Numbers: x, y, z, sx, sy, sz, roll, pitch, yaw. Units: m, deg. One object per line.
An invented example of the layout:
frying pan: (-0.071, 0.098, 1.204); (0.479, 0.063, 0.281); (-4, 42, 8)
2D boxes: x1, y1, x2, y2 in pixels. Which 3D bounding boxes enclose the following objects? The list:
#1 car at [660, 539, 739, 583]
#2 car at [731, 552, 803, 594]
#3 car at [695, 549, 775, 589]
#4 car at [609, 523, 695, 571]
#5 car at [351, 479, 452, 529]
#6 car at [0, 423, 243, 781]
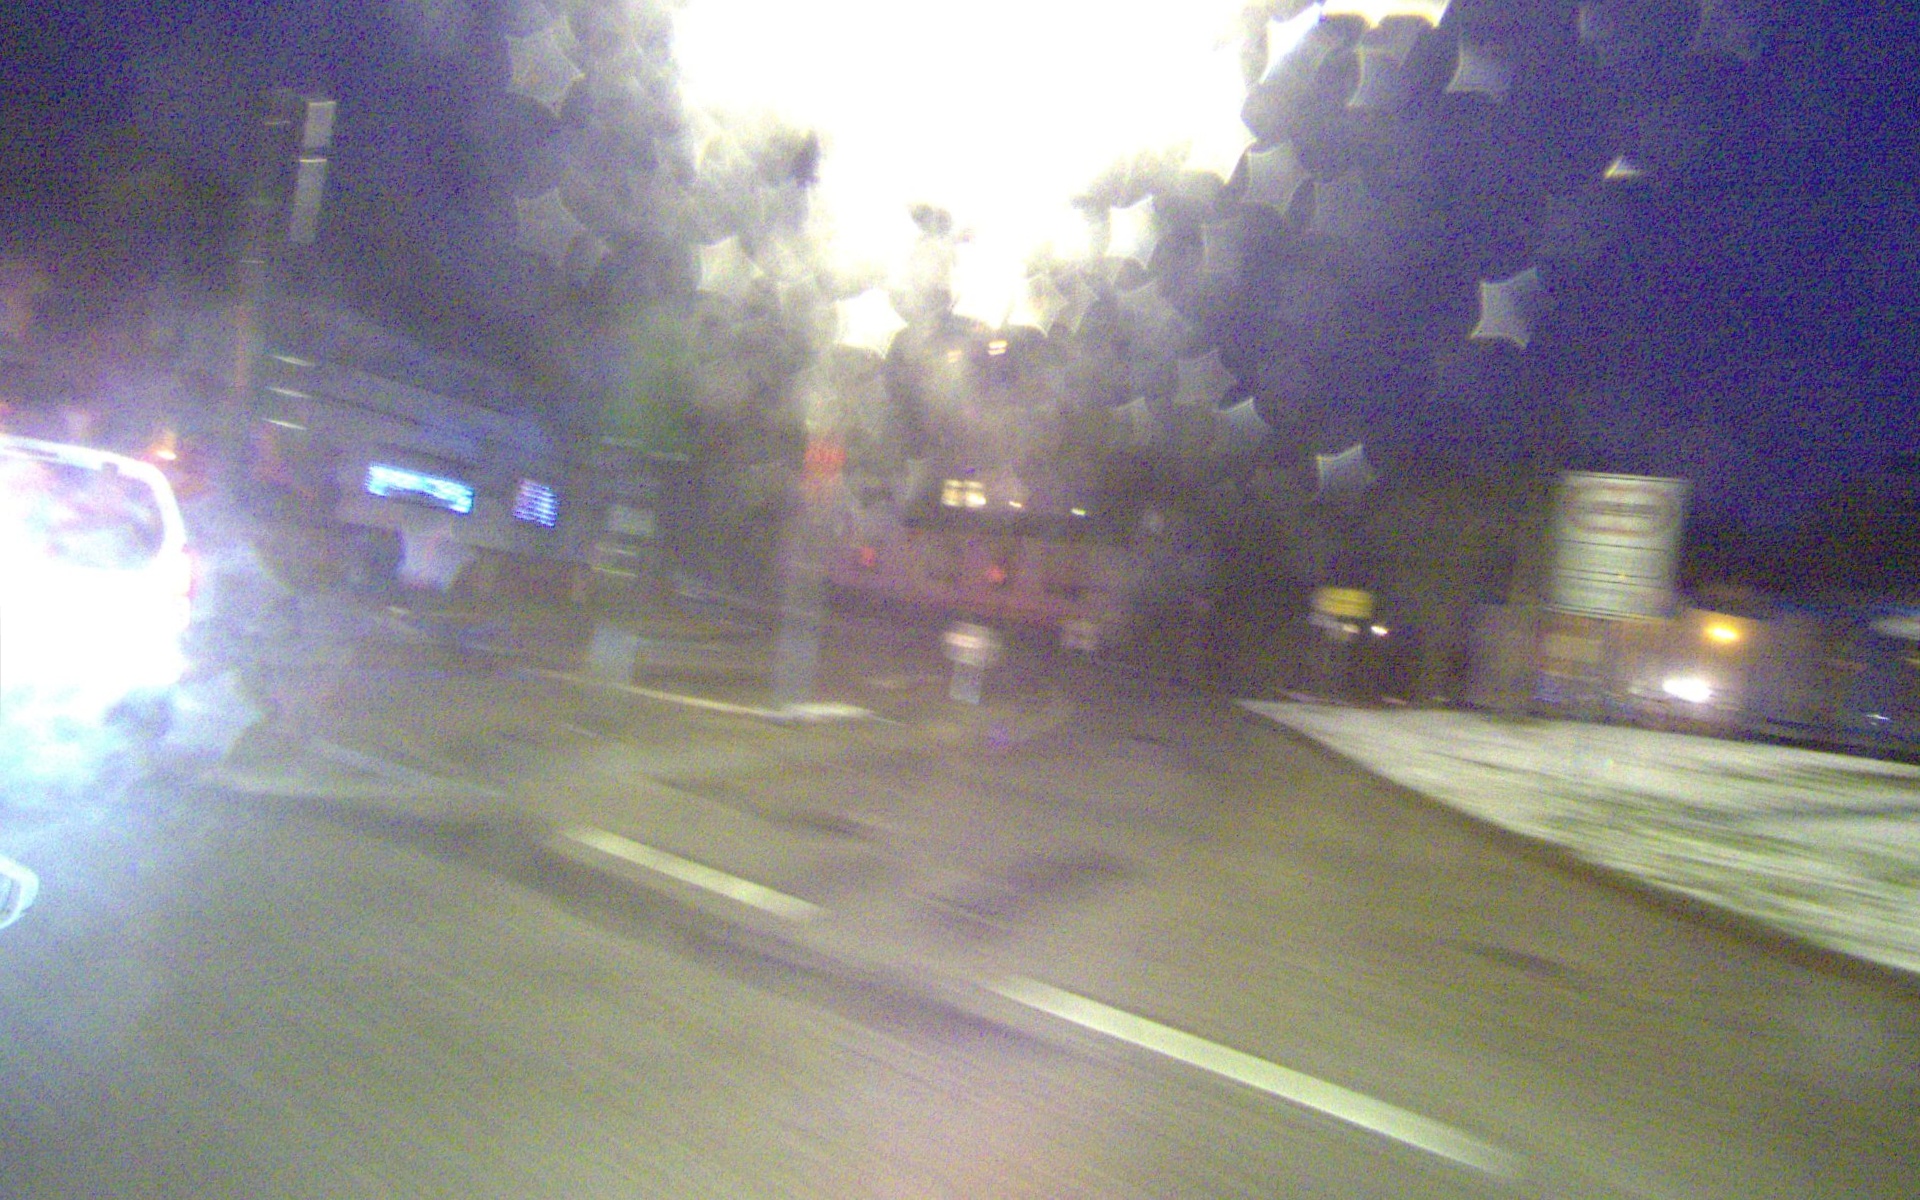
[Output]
car: (-15.703, -2.342, 60.656); (3.974, 2.038, 1.977); (8, -1, -42)
car: (-12.349, -1.711, 64.491); (3.977, 2.038, 1.975); (9, -1, -44)
car: (-13.290, -1.813, 59.487); (3.971, 1.726, 1.978); (9, -1, -39)
car: (-17.120, -2.954, 56.018); (3.971, 2.038, 1.978); (8, -1, -39)
car: (-27.472, -4.697, 49.634); (4.016, 1.689, 1.769); (8, 0, -22)
car: (-6.838, -0.203, 6.485); (4.266, 1.887, 1.855); (7, 0, 30)
